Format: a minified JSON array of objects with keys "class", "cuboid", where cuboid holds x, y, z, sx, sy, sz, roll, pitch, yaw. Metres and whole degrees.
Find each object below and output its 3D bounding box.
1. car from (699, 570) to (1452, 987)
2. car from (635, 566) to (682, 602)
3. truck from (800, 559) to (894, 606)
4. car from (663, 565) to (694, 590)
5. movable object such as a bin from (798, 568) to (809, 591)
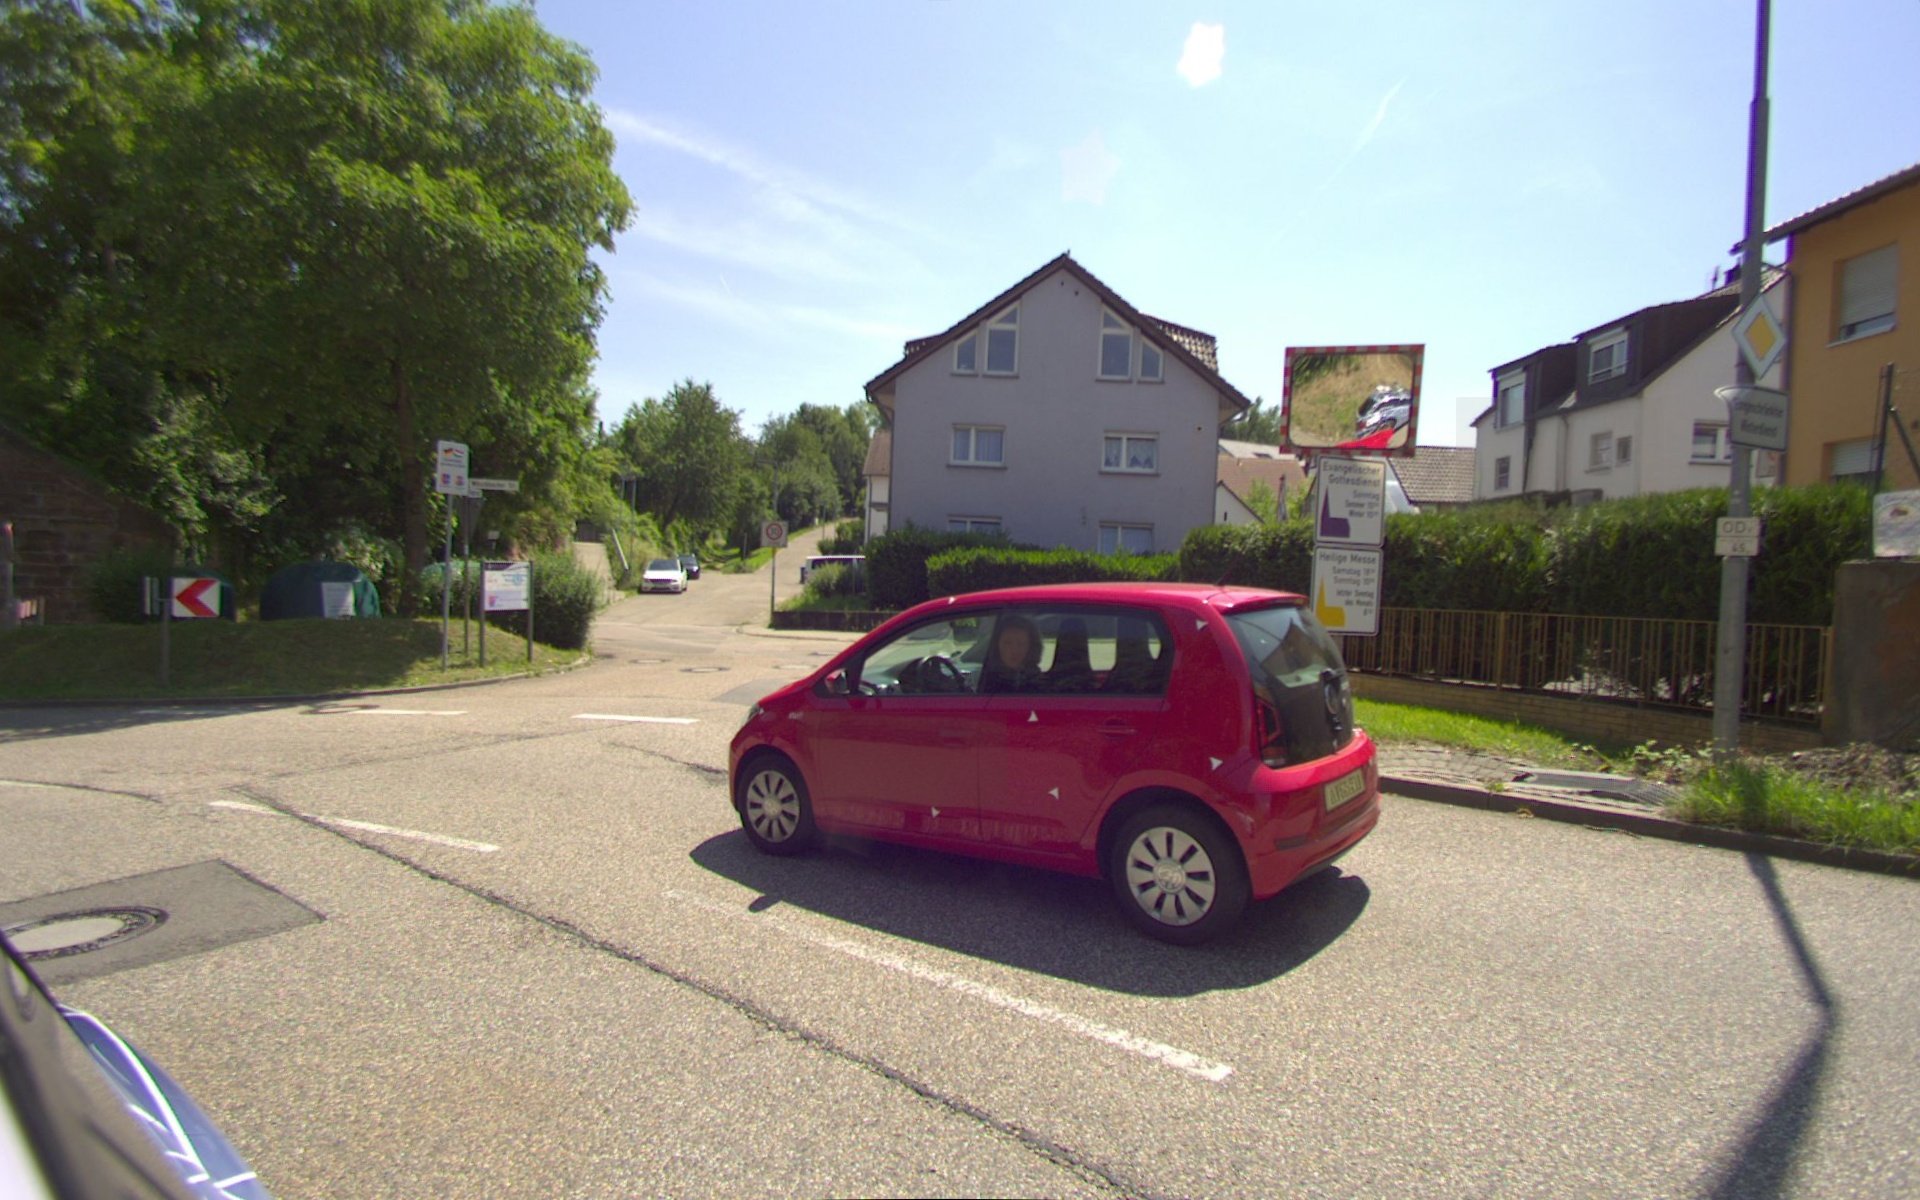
[{"class":"car","cuboid":[0.426,0.637,5.351,3.632,1.469,1.639,-1,0,39]},{"class":"car","cuboid":[-13.932,-0.775,46.702,1.966,1.518,4.013,0,3,-17]},{"class":"truck","cuboid":[-5.296,-0.817,47.907,4.251,2.028,2.002,-2,1,-3]},{"class":"car","cuboid":[-17.489,-1.437,62.797,1.721,1.399,4.013,0,3,-17]},{"class":"movable object such as a bin","cuboid":[-9.641,-1.244,62.461,0.594,1.383,0.537,-1,1,1]}]
